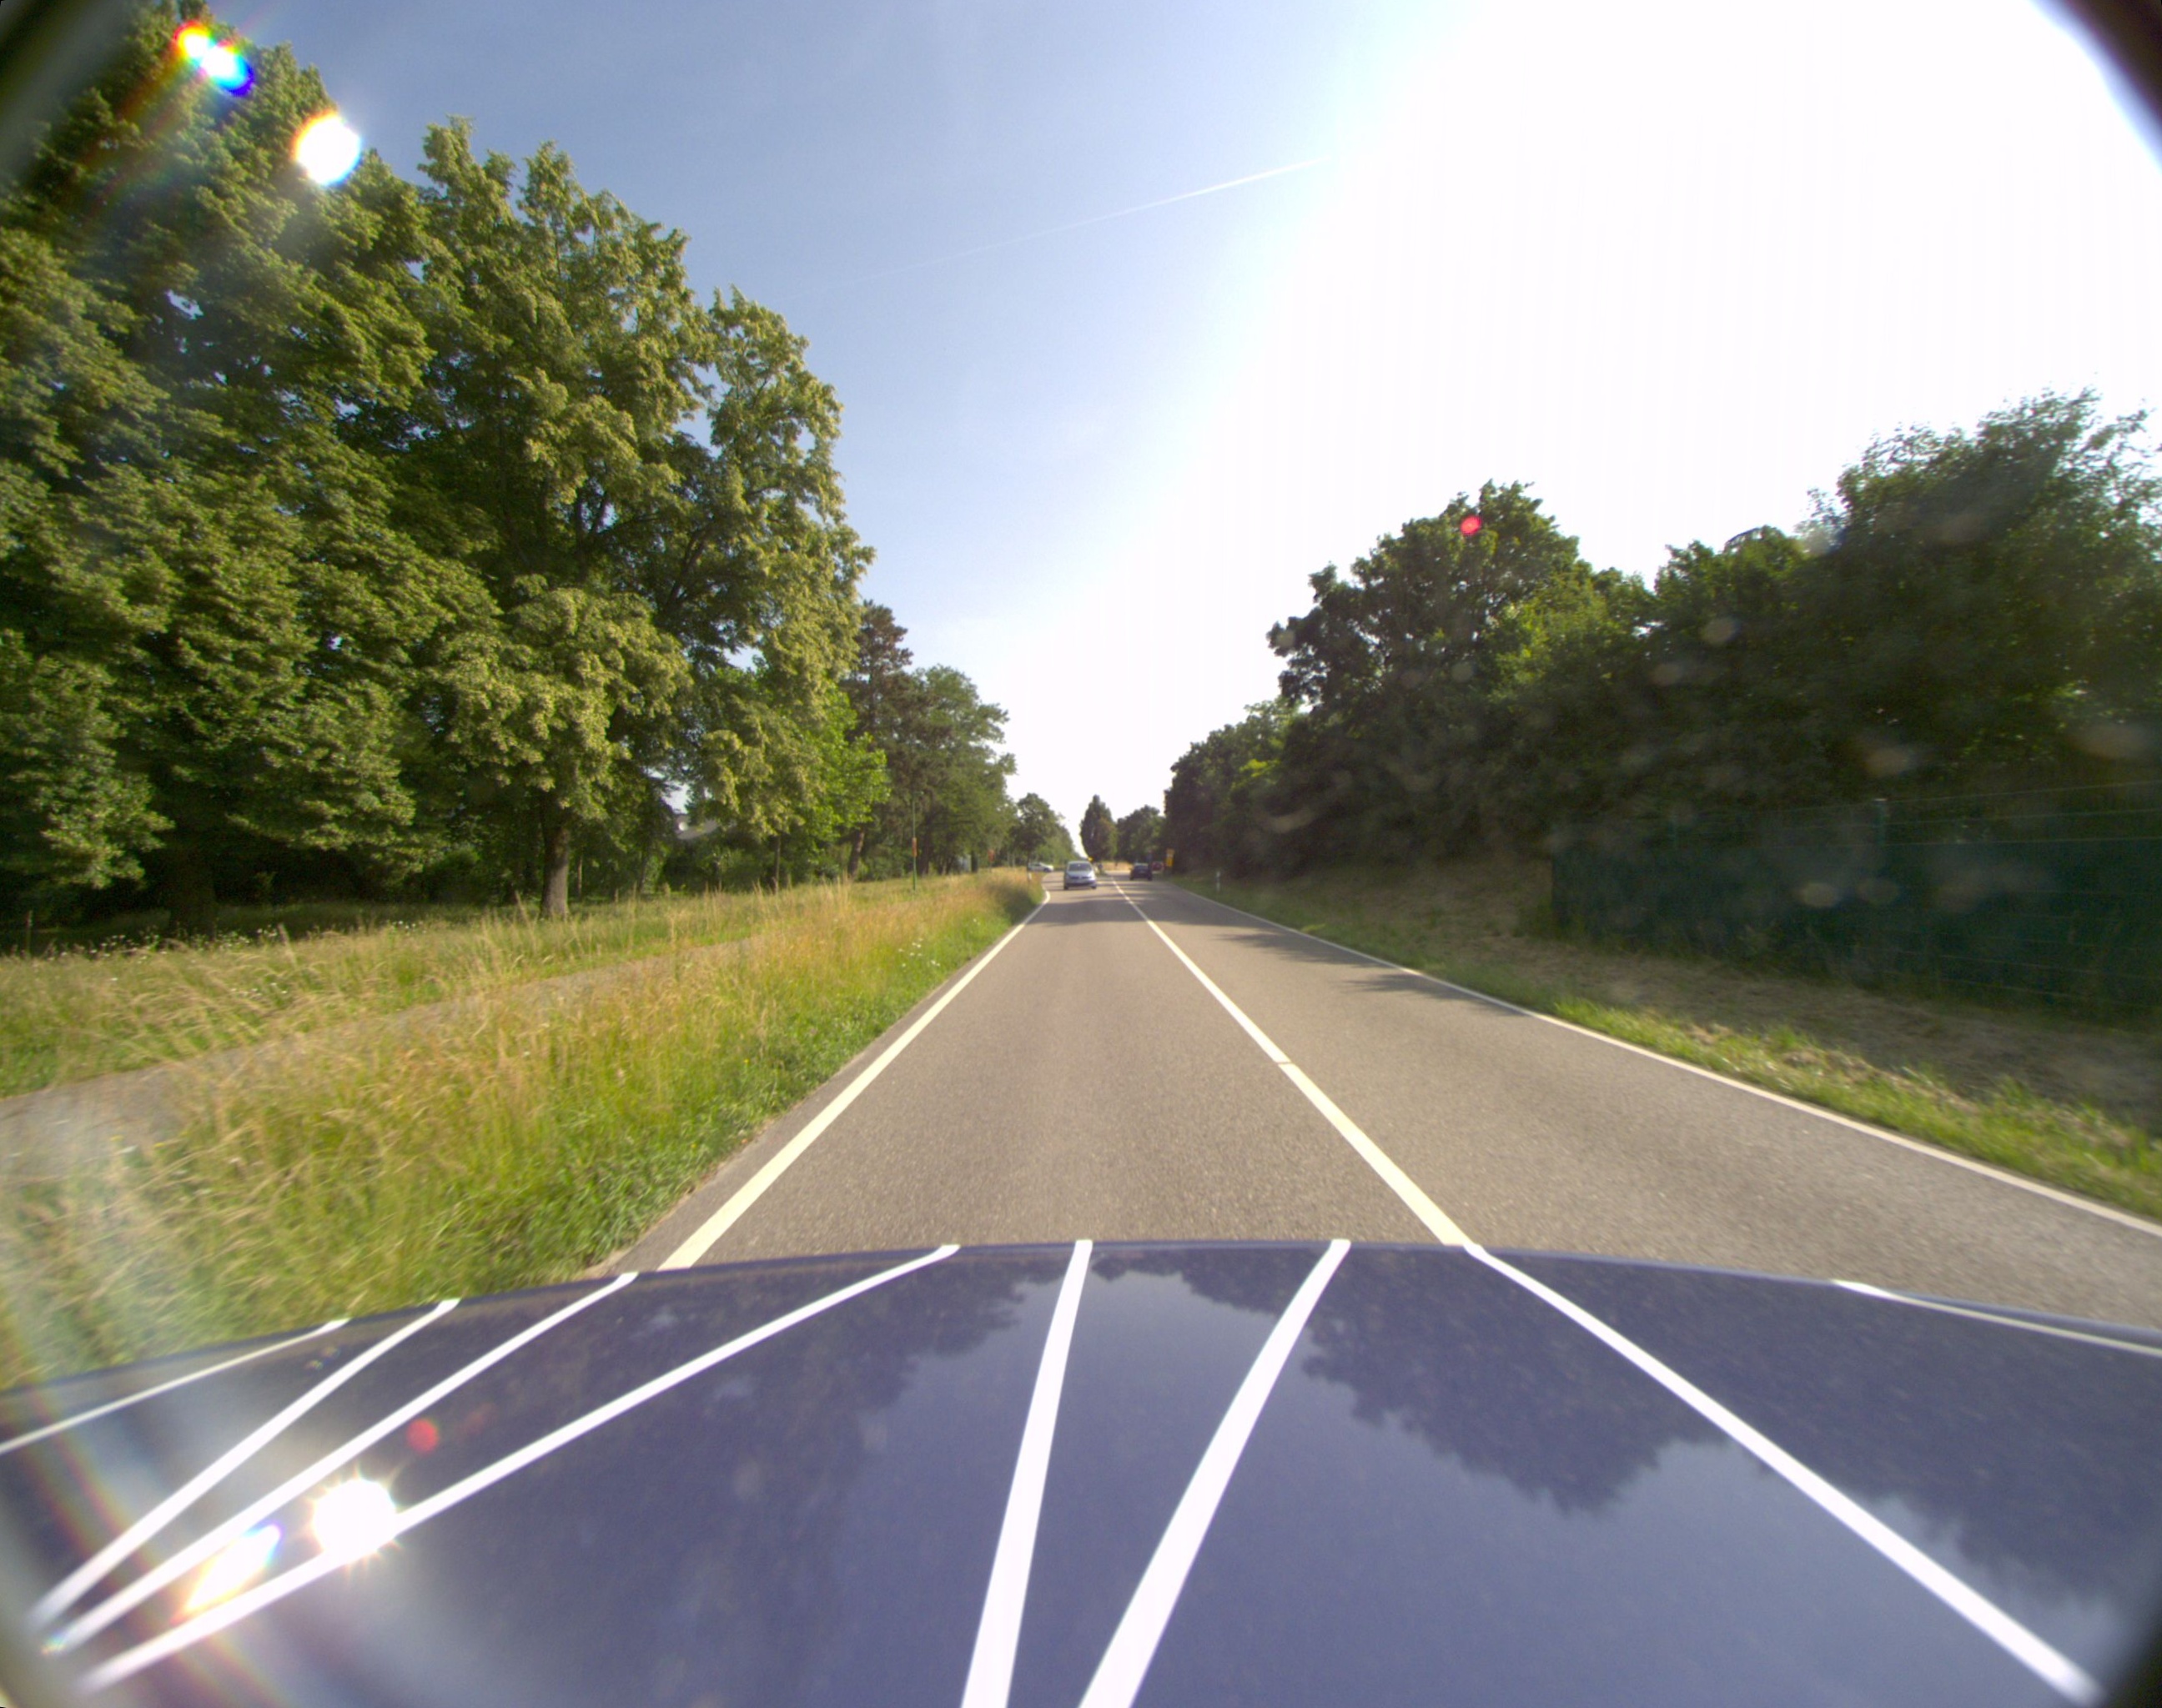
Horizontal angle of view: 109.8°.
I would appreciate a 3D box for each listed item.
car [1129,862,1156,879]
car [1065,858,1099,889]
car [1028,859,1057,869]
[{"bbox_3d":[5.297,1.404,65.827,1.875,1.415,4.577,1,0,0],"label":"car"},{"bbox_3d":[0.062,1.049,42.387,1.808,1.592,4.269,-1,0,0],"label":"car"},{"bbox_3d":[-5.752,1.549,113.476,3.996,1.477,2.001,0,0,4],"label":"car"}]
